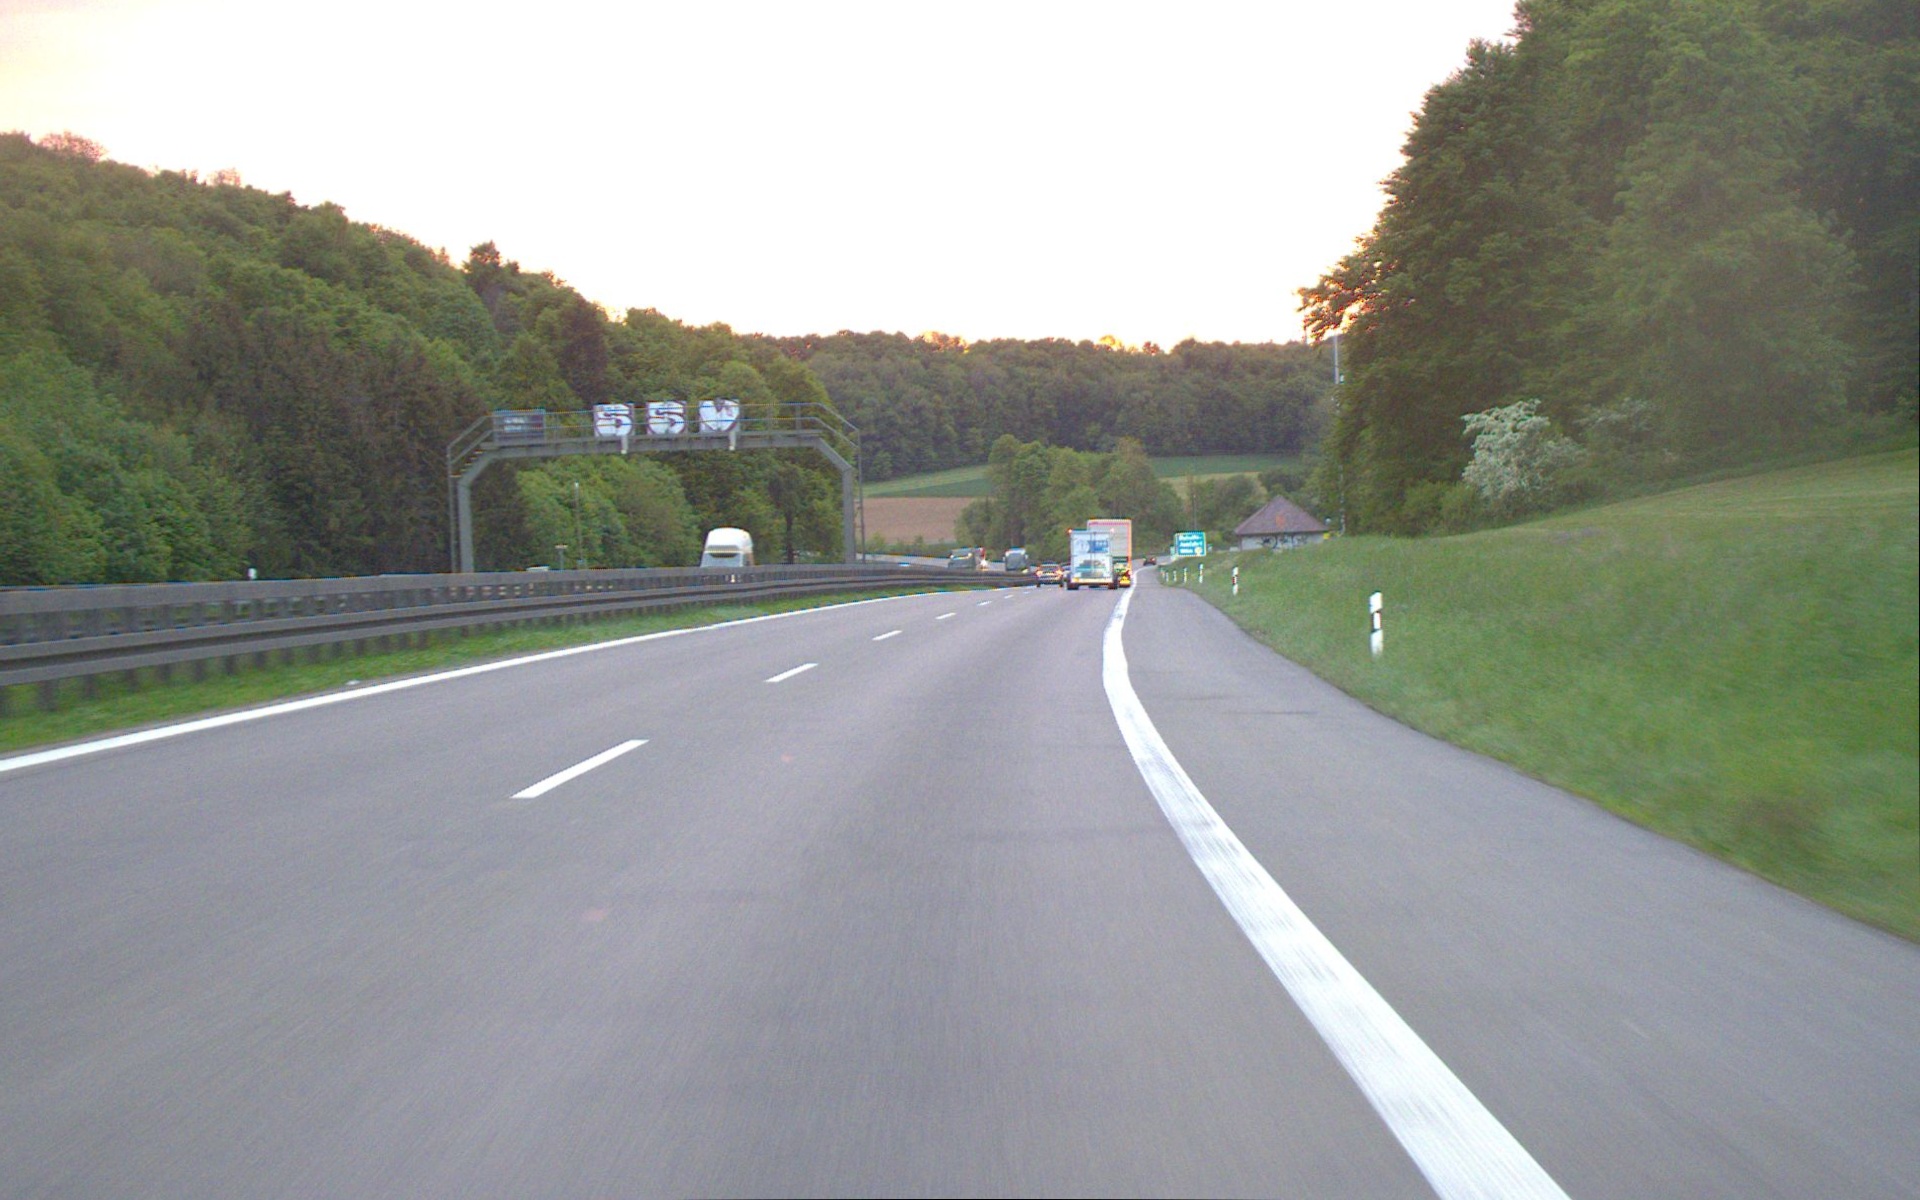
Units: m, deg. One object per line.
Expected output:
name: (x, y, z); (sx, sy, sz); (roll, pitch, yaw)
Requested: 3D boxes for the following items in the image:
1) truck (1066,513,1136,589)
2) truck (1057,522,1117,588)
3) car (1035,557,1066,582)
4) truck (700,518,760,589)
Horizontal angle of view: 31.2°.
truck: (8.427, -2.990, 205.872); (3.958, 4.272, 14.323); (-1, 2, 2)
truck: (5.714, -2.049, 153.977); (2.276, 2.655, 5.236); (-2, 3, 6)
car: (6.014, -2.014, 227.066); (1.993, 1.512, 4.000); (-1, 1, 2)
truck: (-10.092, -2.068, 151.415); (1.994, 3.057, 5.594); (0, 1, 3)
